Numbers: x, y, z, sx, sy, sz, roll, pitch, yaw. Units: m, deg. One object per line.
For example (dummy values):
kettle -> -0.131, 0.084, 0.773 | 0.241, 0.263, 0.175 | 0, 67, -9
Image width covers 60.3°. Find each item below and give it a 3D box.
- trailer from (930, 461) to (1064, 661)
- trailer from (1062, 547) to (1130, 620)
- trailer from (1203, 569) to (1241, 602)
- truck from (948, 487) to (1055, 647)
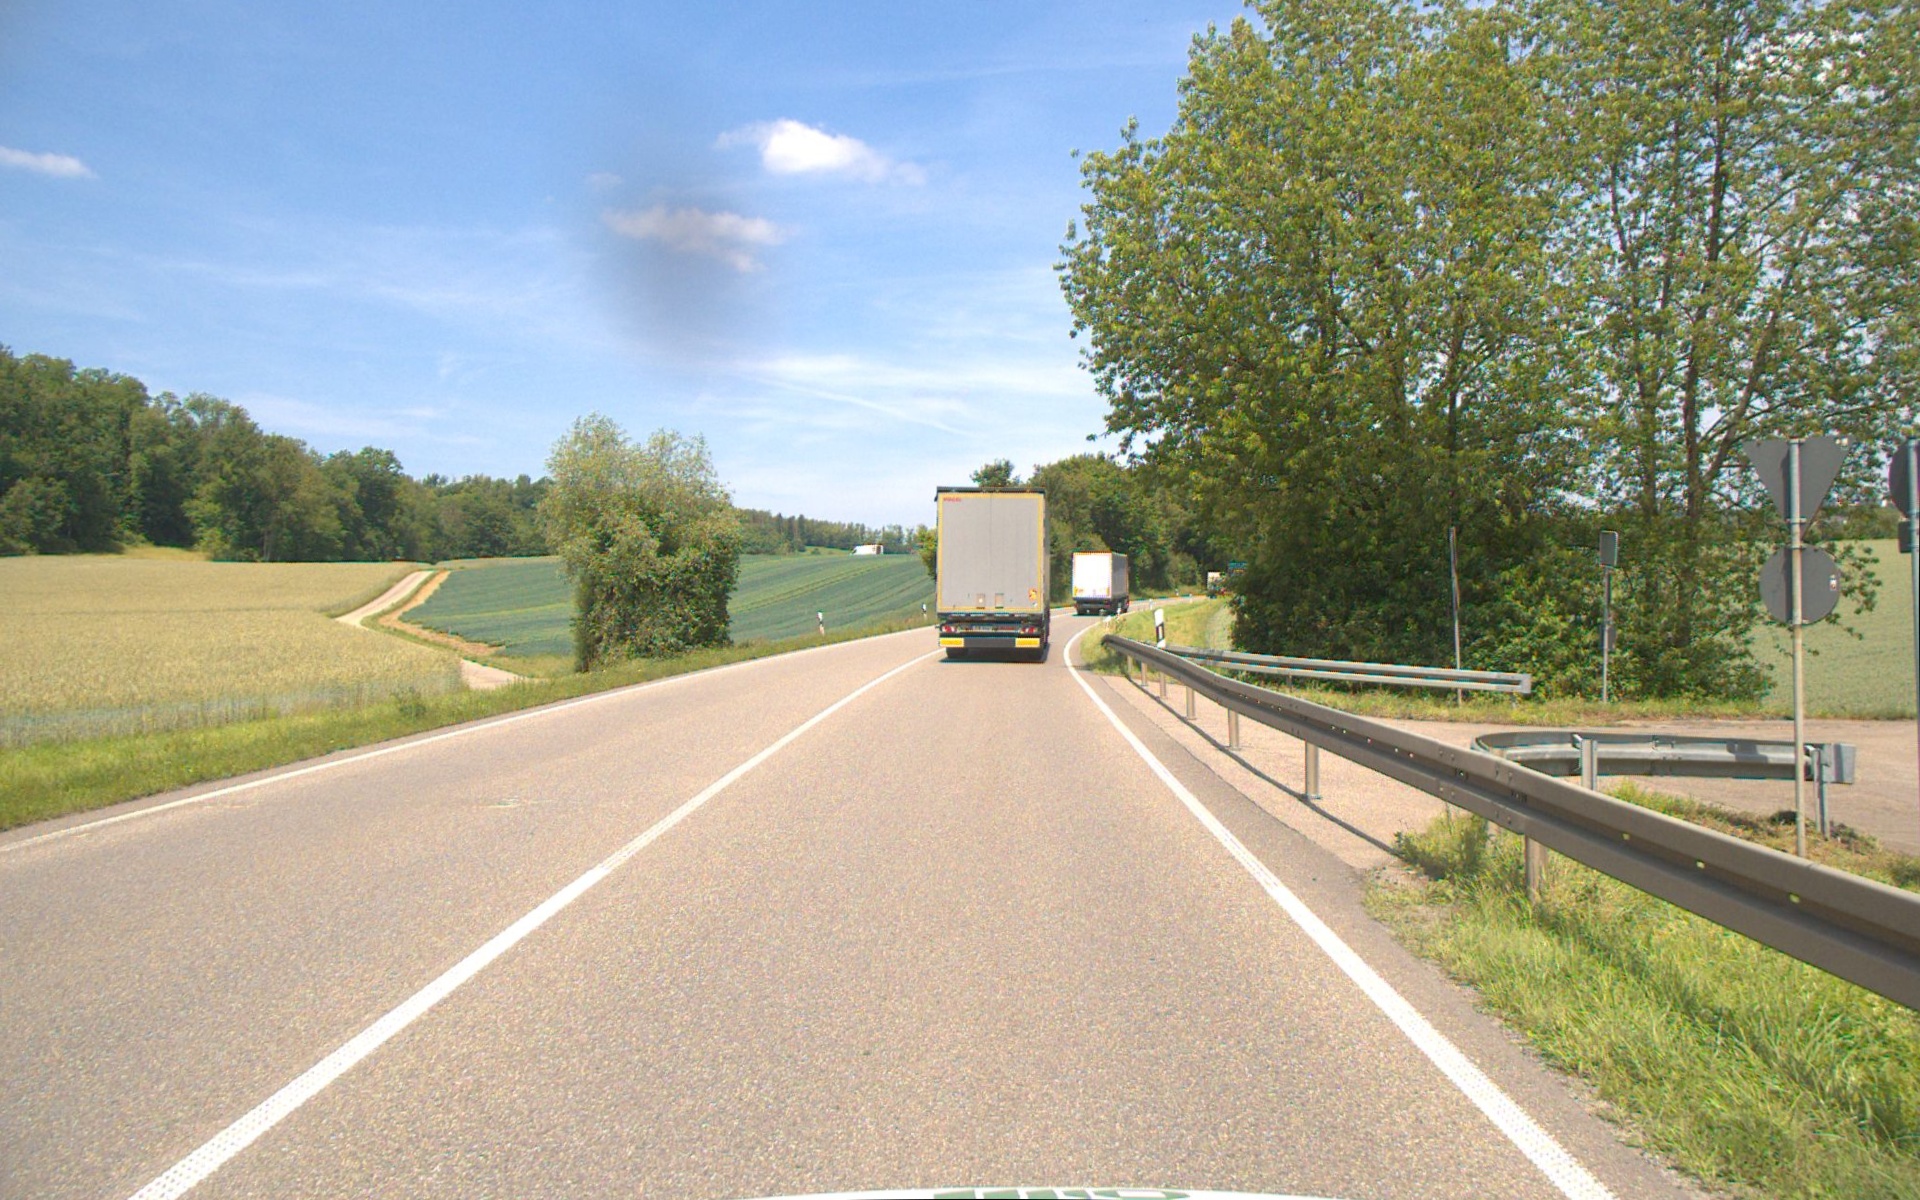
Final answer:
trailer -> 1.068, -0.926, 44.682 | 3.053, 4.578, 13.890 | 0, 0, 2
trailer -> 9.312, -1.257, 111.485 | 3.293, 4.391, 13.880 | -1, 3, 10
trailer -> 31.180, -1.655, 196.655 | 2.763, 3.367, 11.522 | -1, -2, 18
truck -> 1.314, -0.969, 50.781 | 3.053, 4.573, 6.813 | 0, 0, 2
